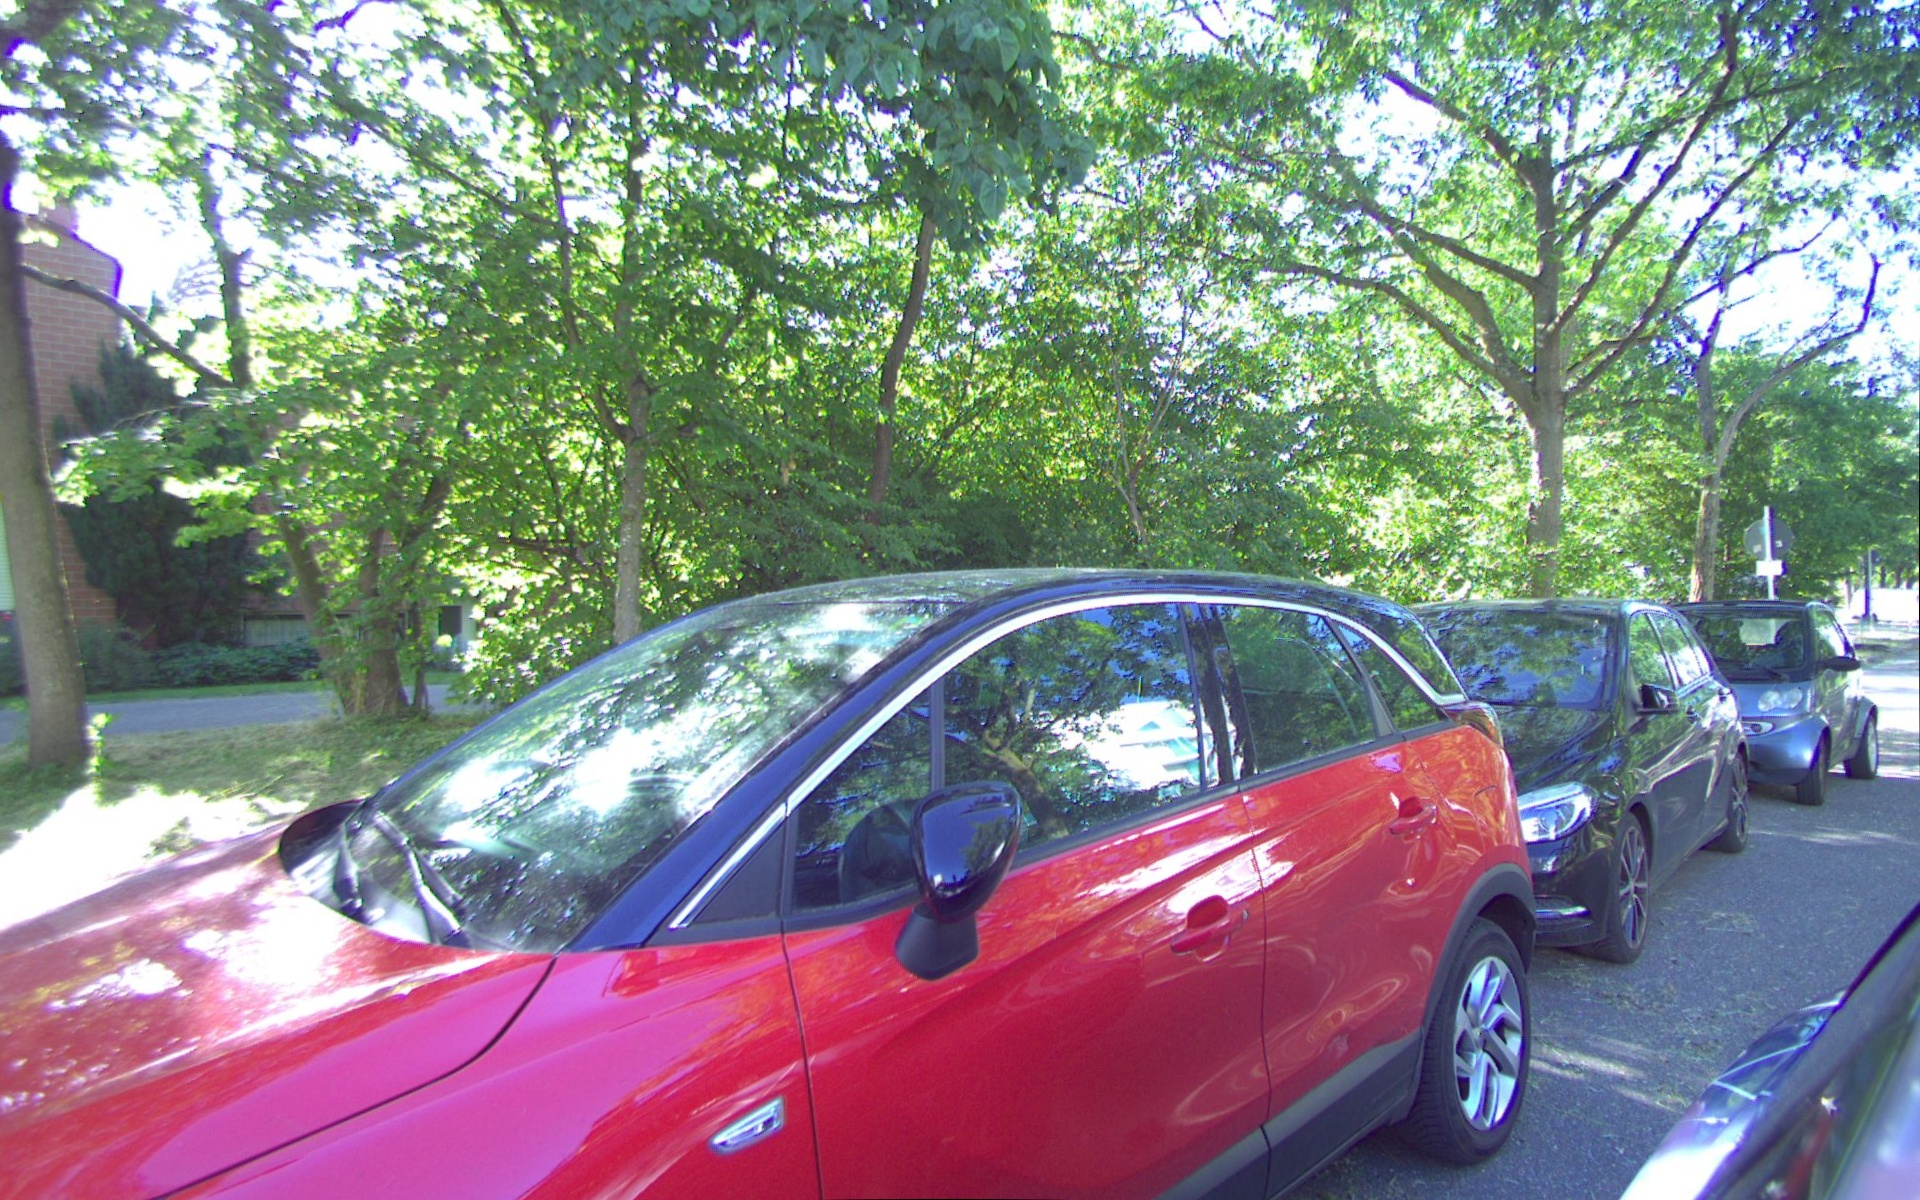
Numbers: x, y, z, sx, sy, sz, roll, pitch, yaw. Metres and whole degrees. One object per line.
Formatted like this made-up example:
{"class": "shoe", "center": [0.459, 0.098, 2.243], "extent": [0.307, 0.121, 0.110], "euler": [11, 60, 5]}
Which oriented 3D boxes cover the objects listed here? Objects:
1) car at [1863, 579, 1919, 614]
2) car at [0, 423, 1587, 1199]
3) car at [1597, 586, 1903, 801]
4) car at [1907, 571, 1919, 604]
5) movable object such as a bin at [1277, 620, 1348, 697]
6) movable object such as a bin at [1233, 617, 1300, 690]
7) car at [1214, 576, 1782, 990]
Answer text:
{"class": "car", "center": [57.312, -0.160, 60.156], "extent": [1.966, 2.030, 5.262], "euler": [0, 1, -43]}
{"class": "car", "center": [-0.137, 0.657, 2.455], "extent": [3.995, 1.594, 1.681], "euler": [0, -1, -41]}
{"class": "car", "center": [6.771, 0.665, 8.626], "extent": [2.629, 1.528, 1.497], "euler": [0, -1, -39]}
{"class": "car", "center": [76.796, -0.949, 78.831], "extent": [4.401, 2.578, 1.858], "euler": [2, 1, 45]}
{"class": "movable object such as a bin", "center": [4.645, 0.757, 13.358], "extent": [0.454, 0.891, 0.728], "euler": [-7, 6, -35]}
{"class": "movable object such as a bin", "center": [4.228, 0.727, 13.967], "extent": [0.454, 0.891, 0.728], "euler": [-7, 6, -35]}
{"class": "car", "center": [3.304, 0.676, 5.794], "extent": [4.081, 1.528, 1.713], "euler": [0, -1, -44]}
